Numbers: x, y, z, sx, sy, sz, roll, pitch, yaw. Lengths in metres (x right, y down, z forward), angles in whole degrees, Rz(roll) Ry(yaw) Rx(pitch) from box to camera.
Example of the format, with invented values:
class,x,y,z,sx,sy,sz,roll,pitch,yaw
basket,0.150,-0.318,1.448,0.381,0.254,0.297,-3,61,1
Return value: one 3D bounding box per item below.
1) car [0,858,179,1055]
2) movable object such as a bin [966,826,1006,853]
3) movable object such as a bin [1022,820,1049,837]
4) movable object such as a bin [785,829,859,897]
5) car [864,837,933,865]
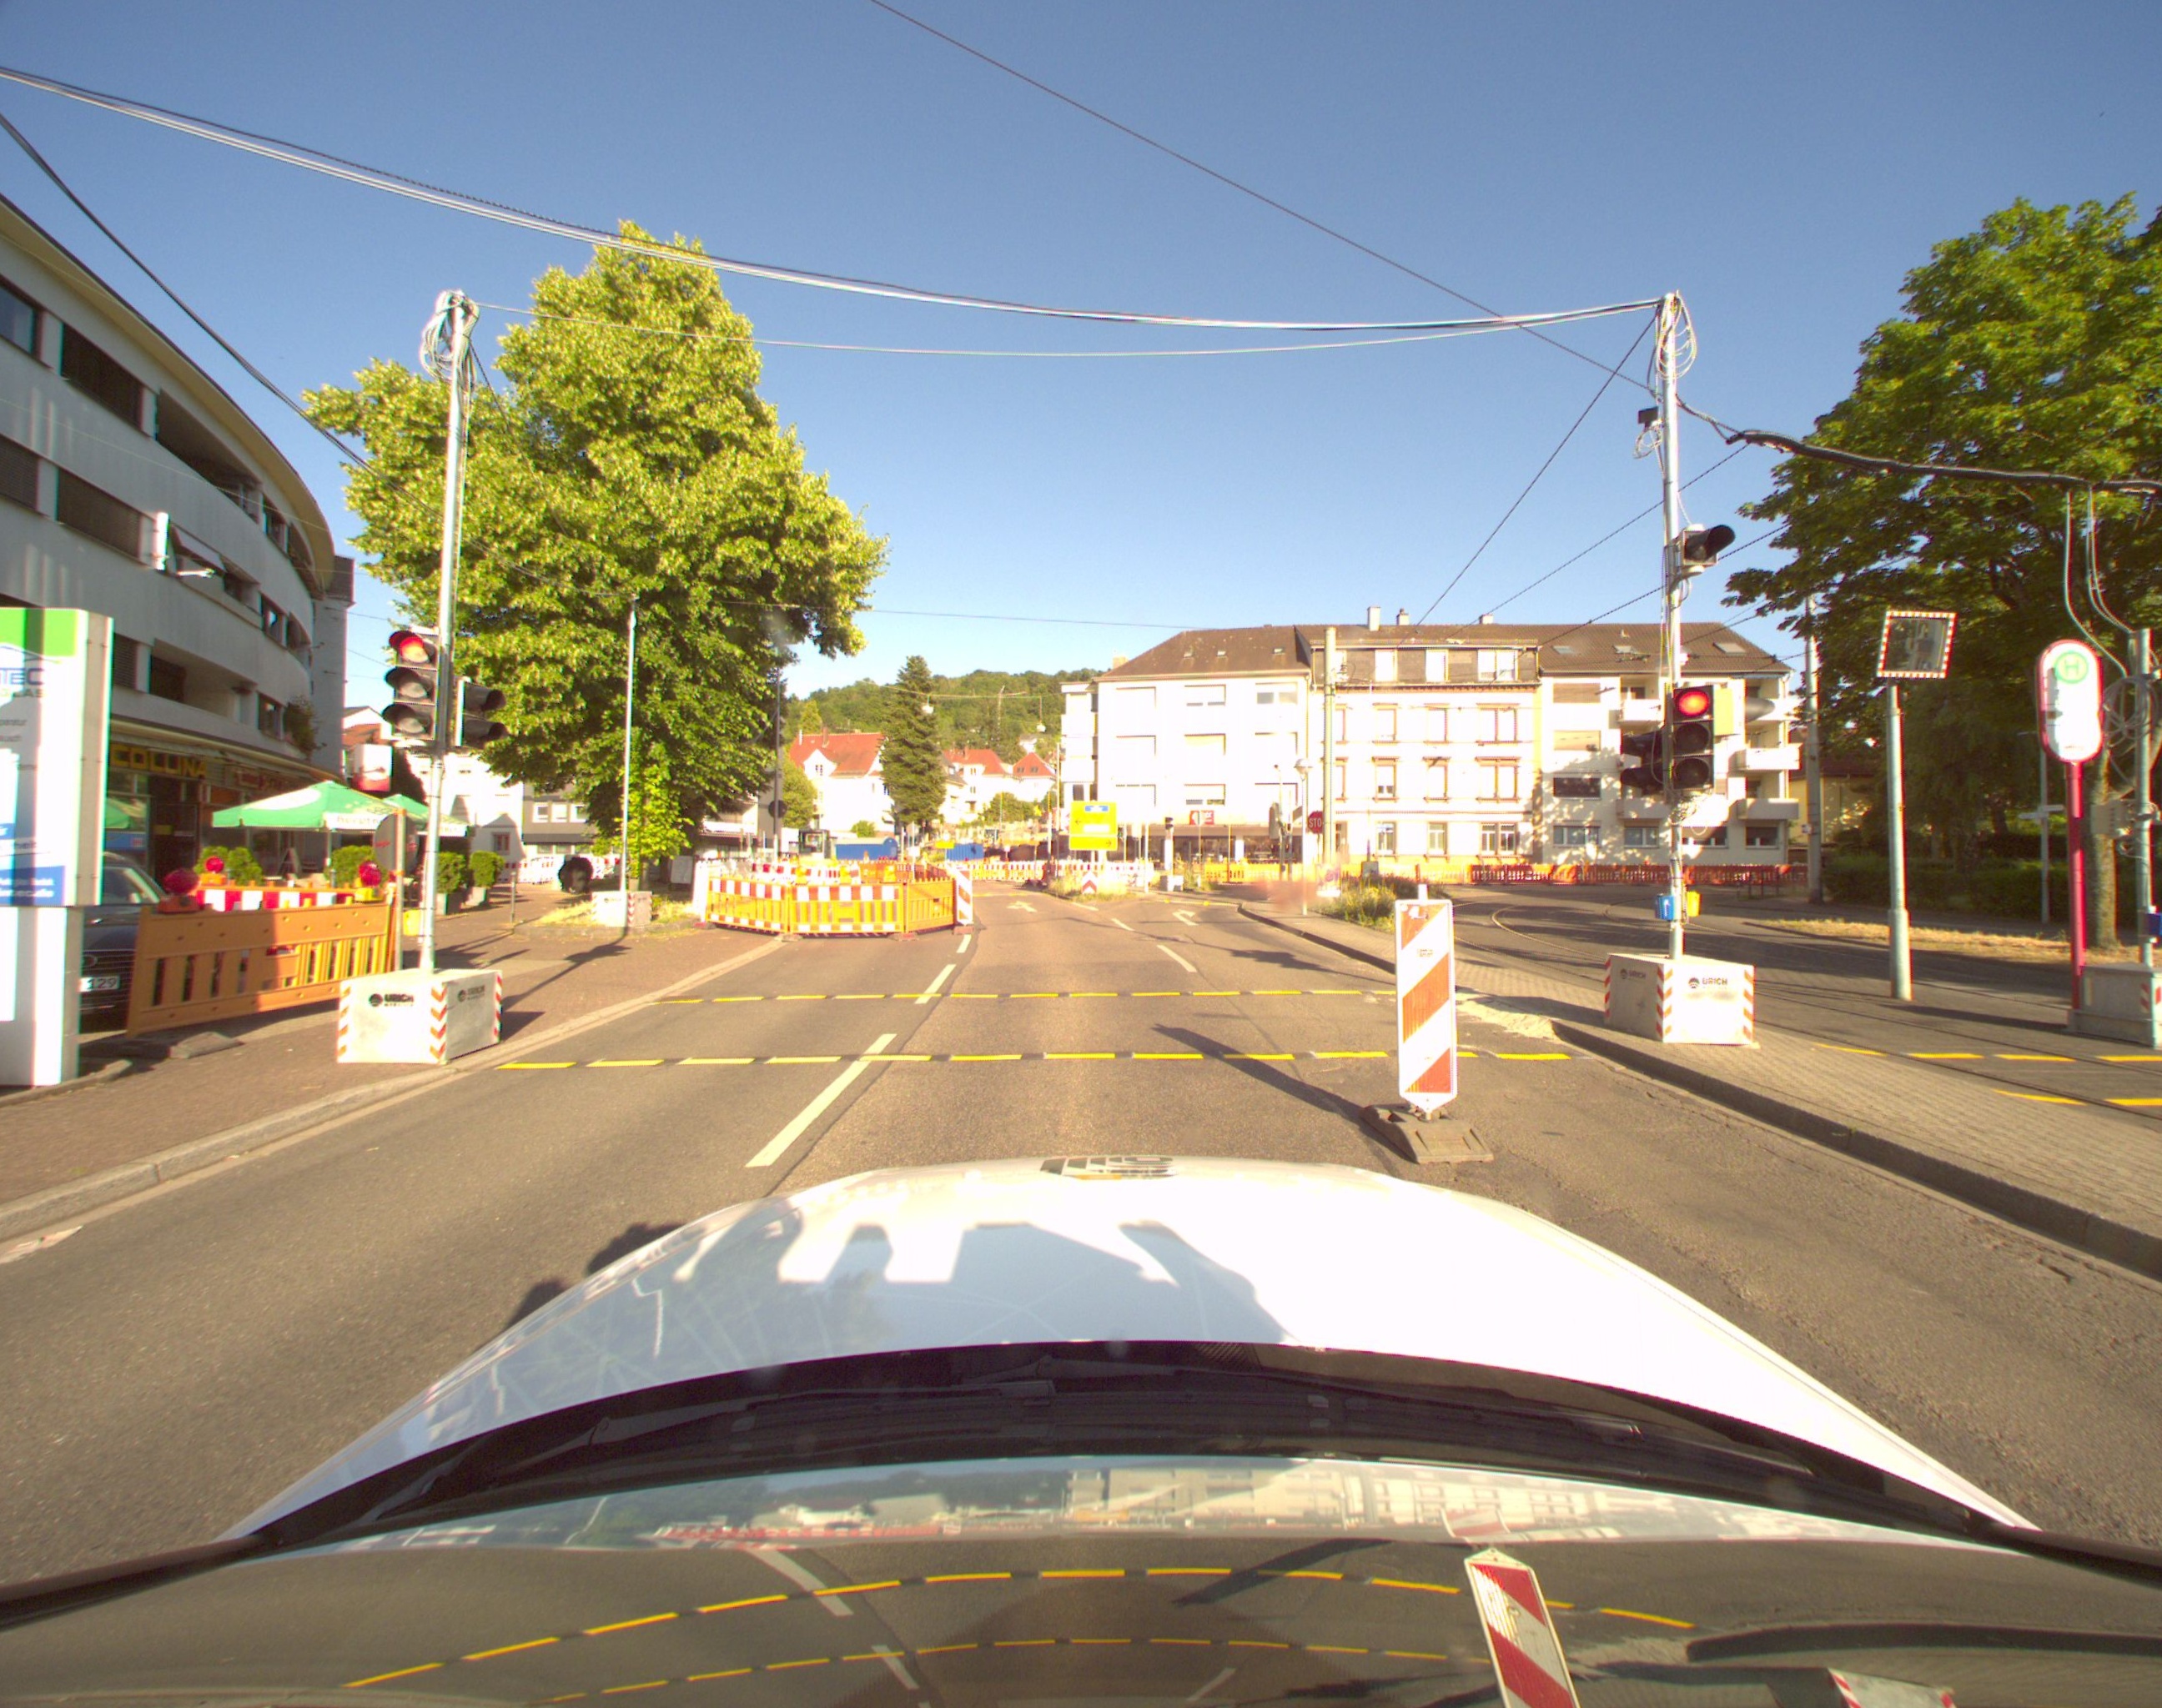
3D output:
class,x,y,z,sx,sy,sz,roll,pitch,yaw
car,-9.318,0.784,7.316,3.835,1.438,1.606,-1,0,42
movable object such as a bin,-9.237,-1.346,79.399,1.932,2.494,4.574,-1,-1,20
movable object such as a bin,-6.415,-3.594,115.299,2.549,2.122,5.801,-1,-1,11
movable object such as a bin,-9.424,0.304,29.879,1.643,2.324,3.916,0,0,-3
car,-14.878,-0.225,66.692,2.562,2.121,6.181,-1,-1,20
